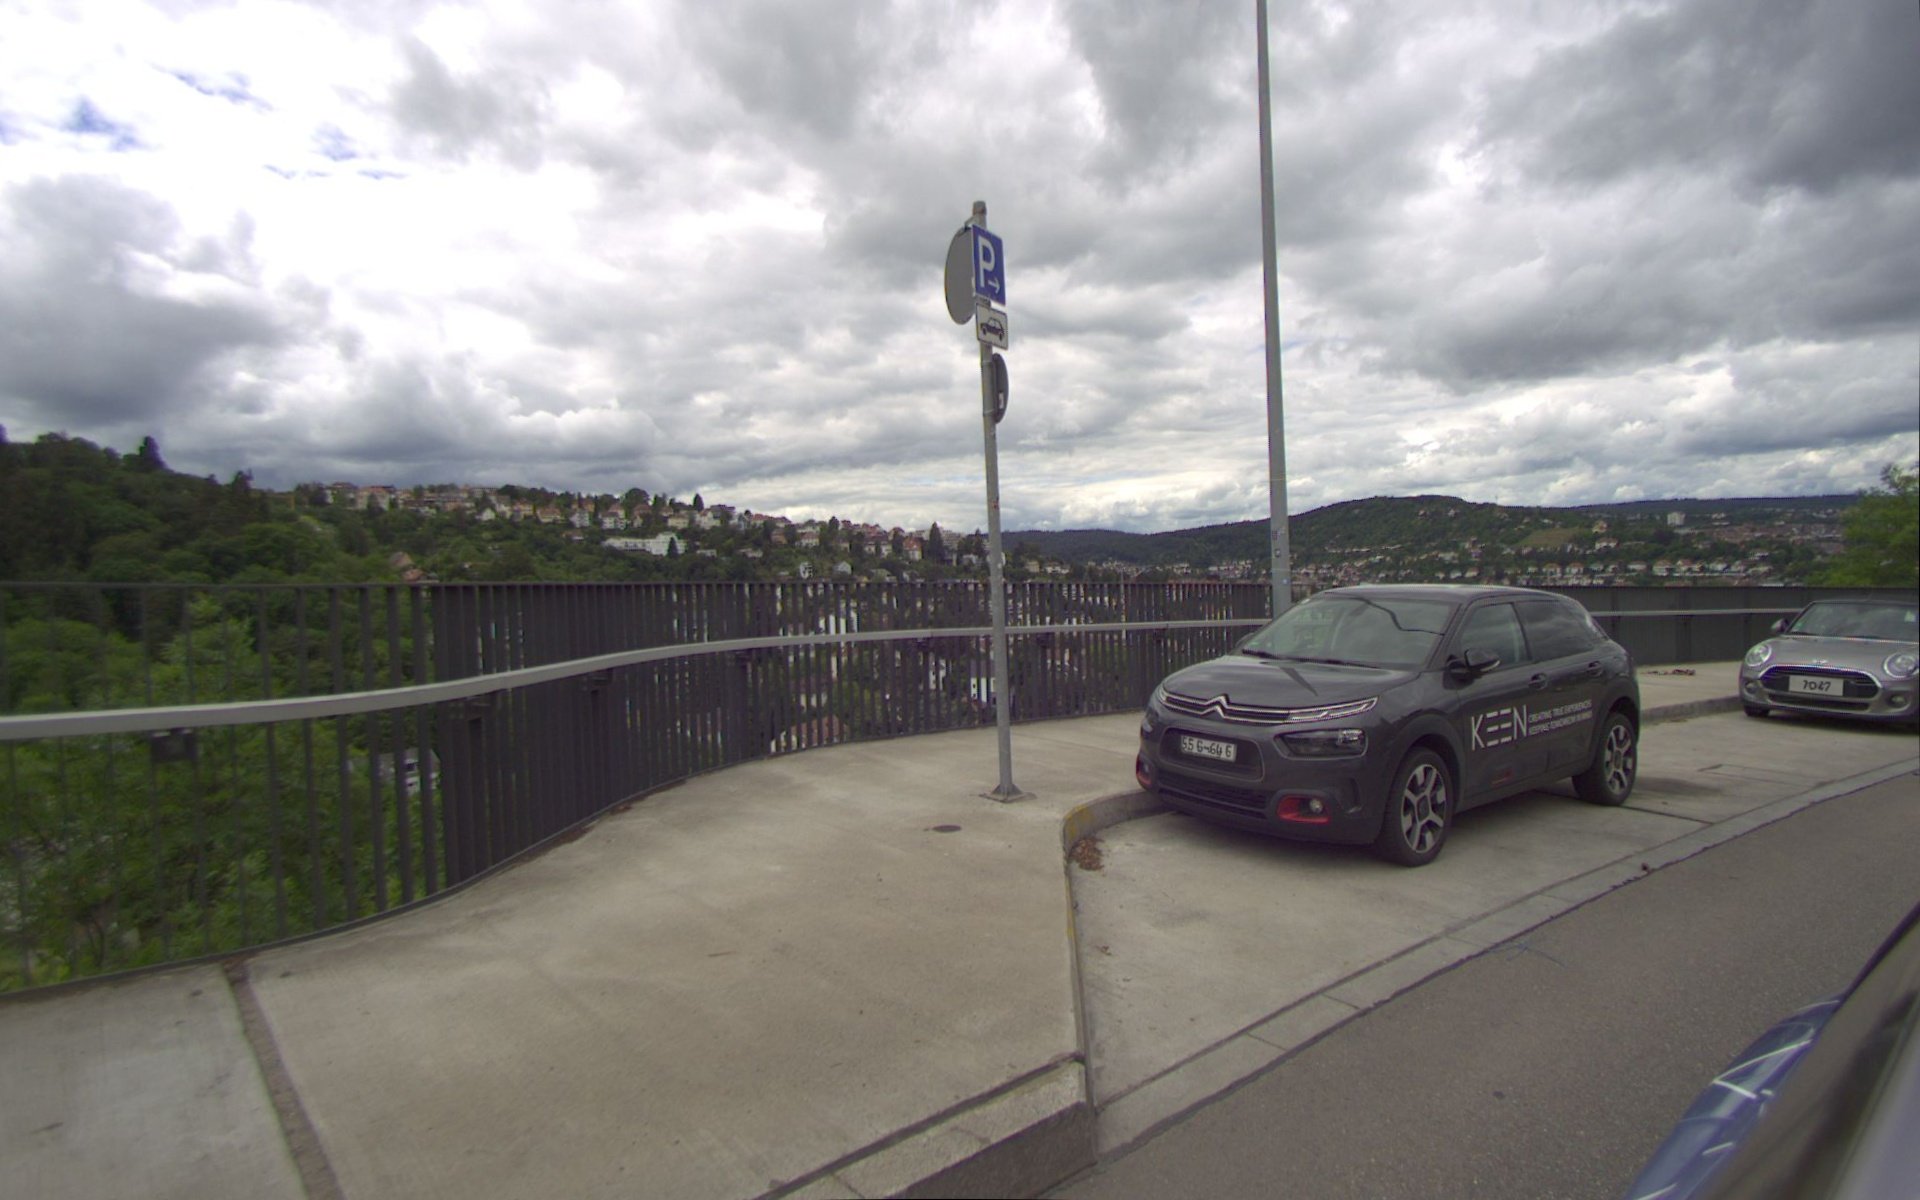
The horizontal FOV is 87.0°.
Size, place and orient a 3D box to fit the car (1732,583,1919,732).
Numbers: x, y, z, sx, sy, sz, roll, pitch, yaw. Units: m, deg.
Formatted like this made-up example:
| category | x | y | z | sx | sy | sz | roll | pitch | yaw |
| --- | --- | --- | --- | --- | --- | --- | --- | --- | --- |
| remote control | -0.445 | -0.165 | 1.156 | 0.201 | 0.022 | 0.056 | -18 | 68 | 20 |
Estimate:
| category | x | y | z | sx | sy | sz | roll | pitch | yaw |
| --- | --- | --- | --- | --- | --- | --- | --- | --- | --- |
| car | 10.796 | 0.559 | 11.737 | 3.775 | 1.449 | 1.721 | 0 | 2 | -33 |

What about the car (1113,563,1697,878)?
| category | x | y | z | sx | sy | sz | roll | pitch | yaw |
| --- | --- | --- | --- | --- | --- | --- | --- | --- | --- |
| car | 3.168 | 0.567 | 6.954 | 4.012 | 1.562 | 1.881 | 0 | 1 | -35 |

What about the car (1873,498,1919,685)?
| category | x | y | z | sx | sy | sz | roll | pitch | yaw |
| --- | --- | --- | --- | --- | --- | --- | --- | --- | --- |
| car | 15.958 | -0.067 | 14.461 | 5.651 | 2.551 | 2.179 | 0 | 4 | -25 |
